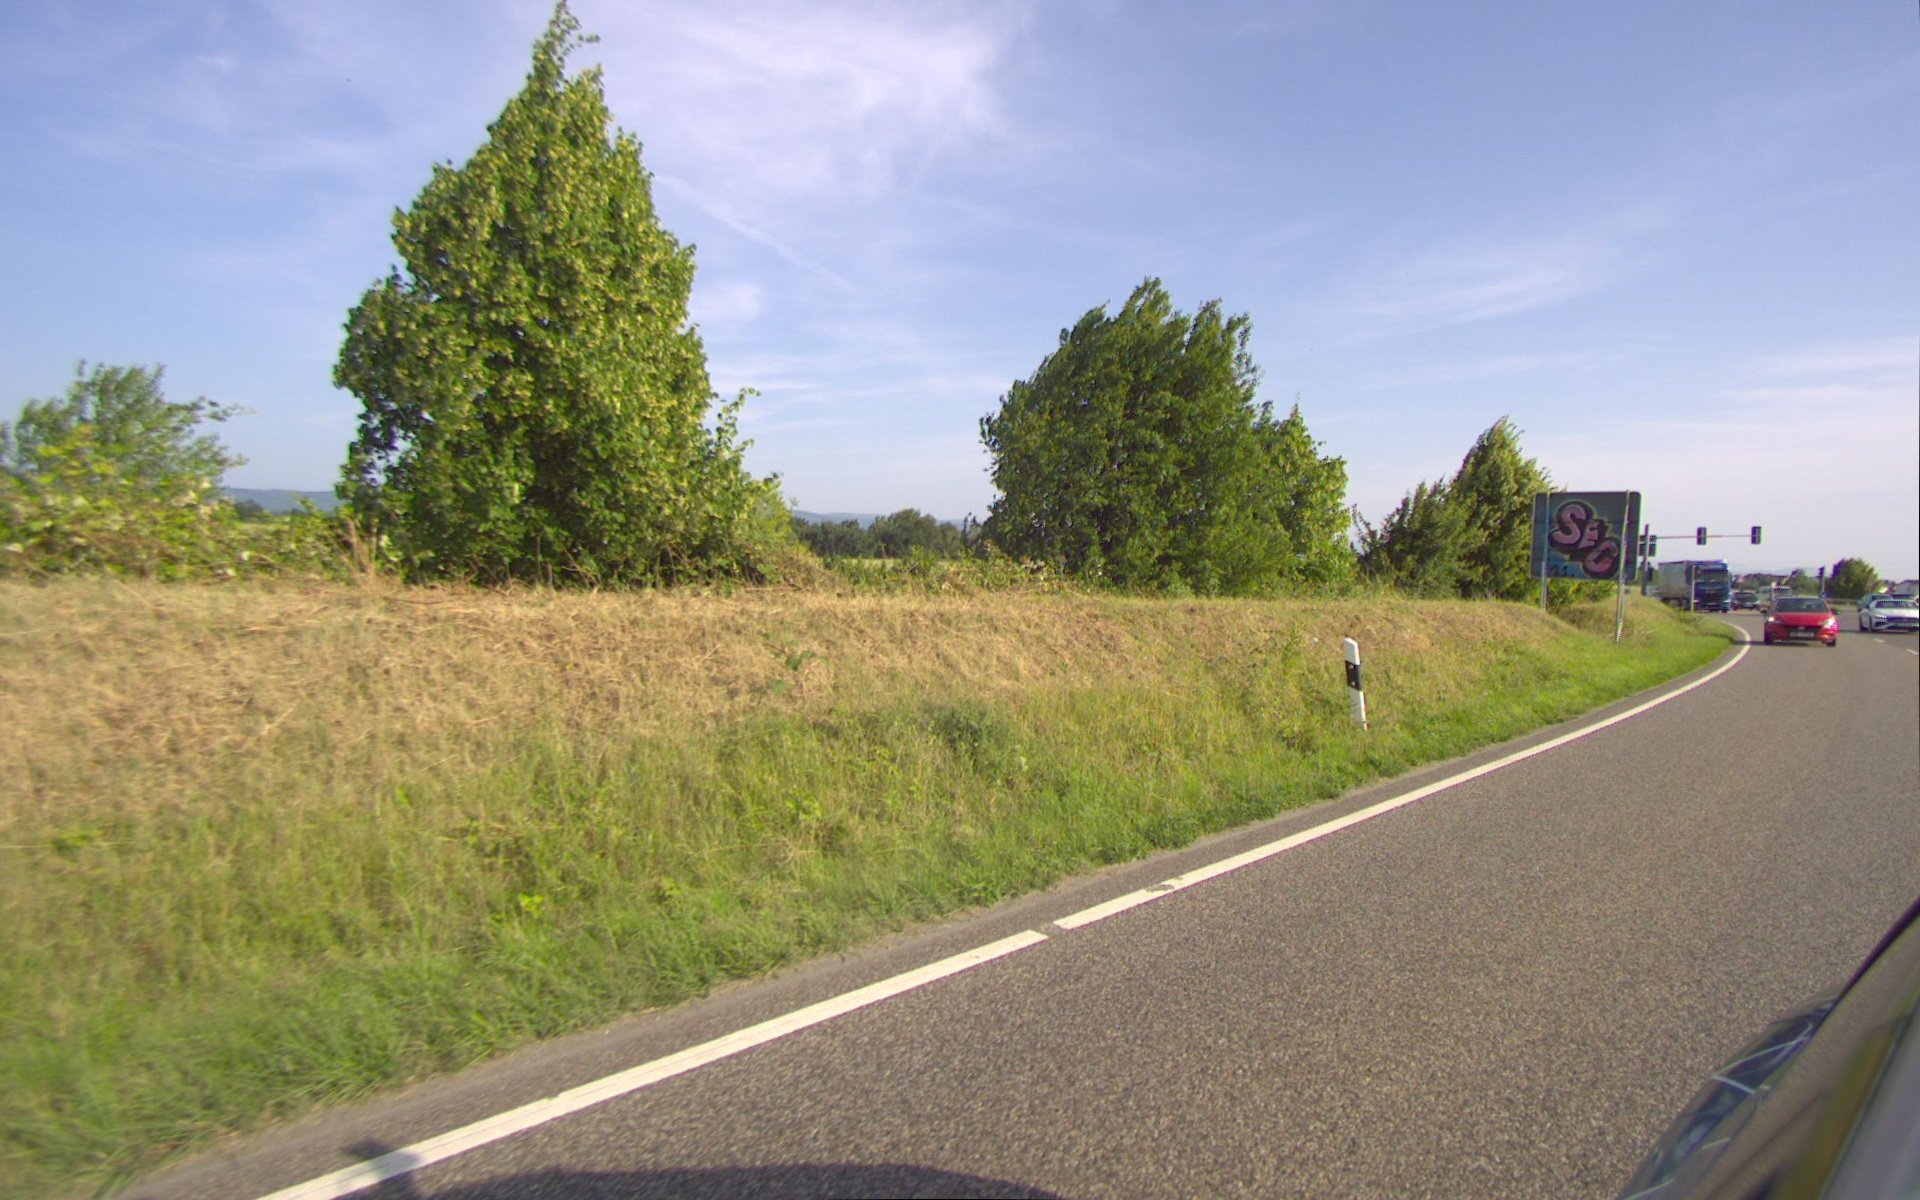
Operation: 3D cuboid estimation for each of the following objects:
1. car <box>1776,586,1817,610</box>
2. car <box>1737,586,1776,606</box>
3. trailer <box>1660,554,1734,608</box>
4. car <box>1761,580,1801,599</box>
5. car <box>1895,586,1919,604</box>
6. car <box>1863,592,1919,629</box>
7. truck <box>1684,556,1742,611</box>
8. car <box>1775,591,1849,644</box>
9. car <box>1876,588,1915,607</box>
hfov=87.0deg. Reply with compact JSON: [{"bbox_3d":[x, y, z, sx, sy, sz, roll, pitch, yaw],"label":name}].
[{"bbox_3d":[57.250,-0.150,69.297,1.741,1.549,3.952,1,1,34],"label":"car"},{"bbox_3d":[65.140,-0.361,82.850,1.815,1.549,3.961,1,1,28],"label":"car"},{"bbox_3d":[60.185,-1.576,82.955,2.627,4.028,13.803,0,1,27],"label":"trailer"},{"bbox_3d":[85.844,-1.084,105.911,1.980,1.927,5.738,1,1,26],"label":"car"},{"bbox_3d":[80.870,-0.434,85.663,1.697,1.544,4.090,1,1,31],"label":"car"},{"bbox_3d":[38.991,0.401,41.696,1.862,1.415,4.159,1,2,31],"label":"car"},{"bbox_3d":[57.238,-1.271,77.045,2.628,3.968,5.893,0,1,28],"label":"truck"},{"bbox_3d":[26.313,0.483,31.274,1.659,1.482,3.897,1,1,41],"label":"car"},{"bbox_3d":[74.773,-0.256,80.962,1.672,1.461,3.708,1,1,33],"label":"car"}]
